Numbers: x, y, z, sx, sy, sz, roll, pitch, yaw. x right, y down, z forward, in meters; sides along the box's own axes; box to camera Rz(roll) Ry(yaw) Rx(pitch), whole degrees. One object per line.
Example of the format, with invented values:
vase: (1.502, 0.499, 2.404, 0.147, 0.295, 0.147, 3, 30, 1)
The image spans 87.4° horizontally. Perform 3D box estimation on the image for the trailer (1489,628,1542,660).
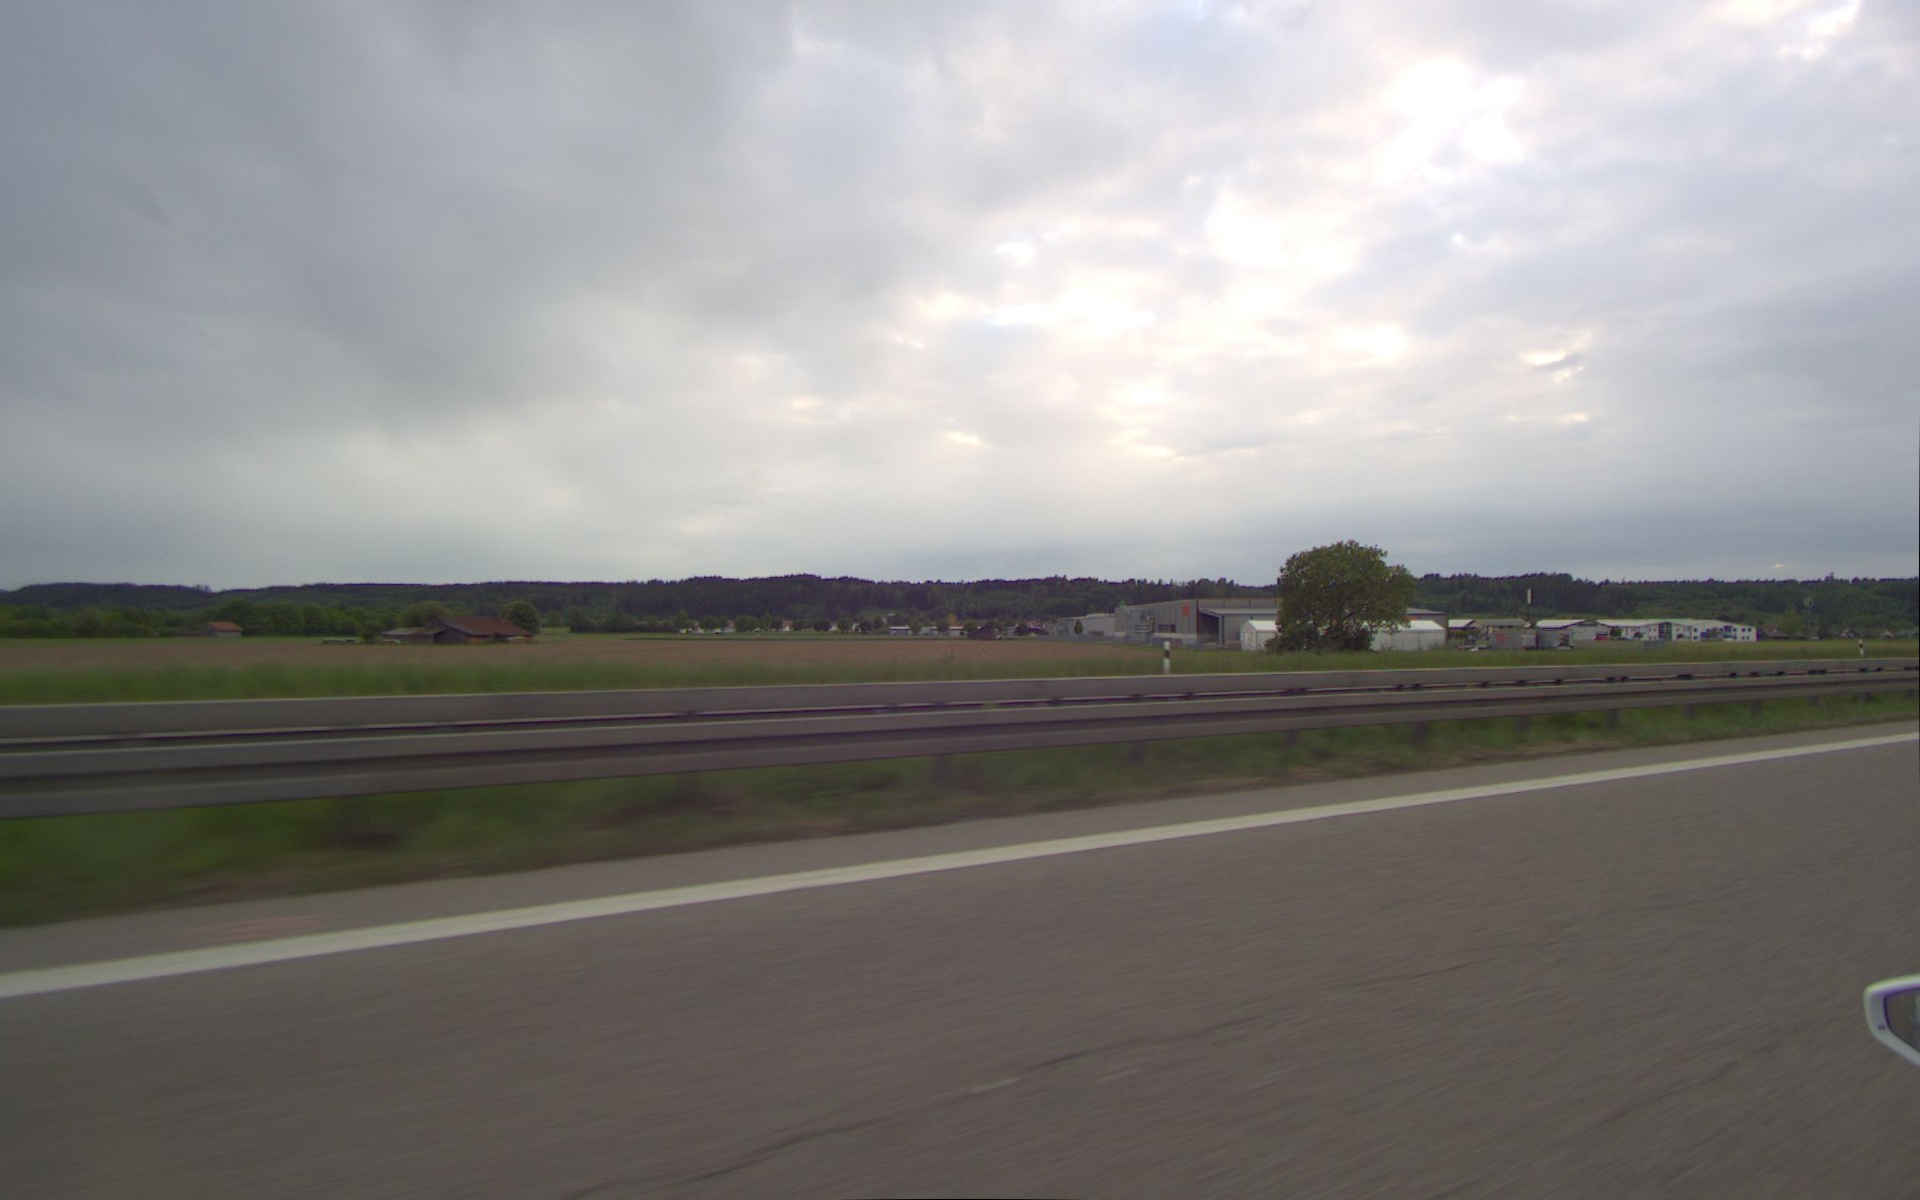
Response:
trailer: (96.389, 7.620, 174.596, 3.681, 5.329, 10.085, 1, -3, 0)

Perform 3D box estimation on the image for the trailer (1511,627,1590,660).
trailer: (100.916, 7.512, 172.324, 3.499, 5.202, 17.040, 1, -3, 0)
